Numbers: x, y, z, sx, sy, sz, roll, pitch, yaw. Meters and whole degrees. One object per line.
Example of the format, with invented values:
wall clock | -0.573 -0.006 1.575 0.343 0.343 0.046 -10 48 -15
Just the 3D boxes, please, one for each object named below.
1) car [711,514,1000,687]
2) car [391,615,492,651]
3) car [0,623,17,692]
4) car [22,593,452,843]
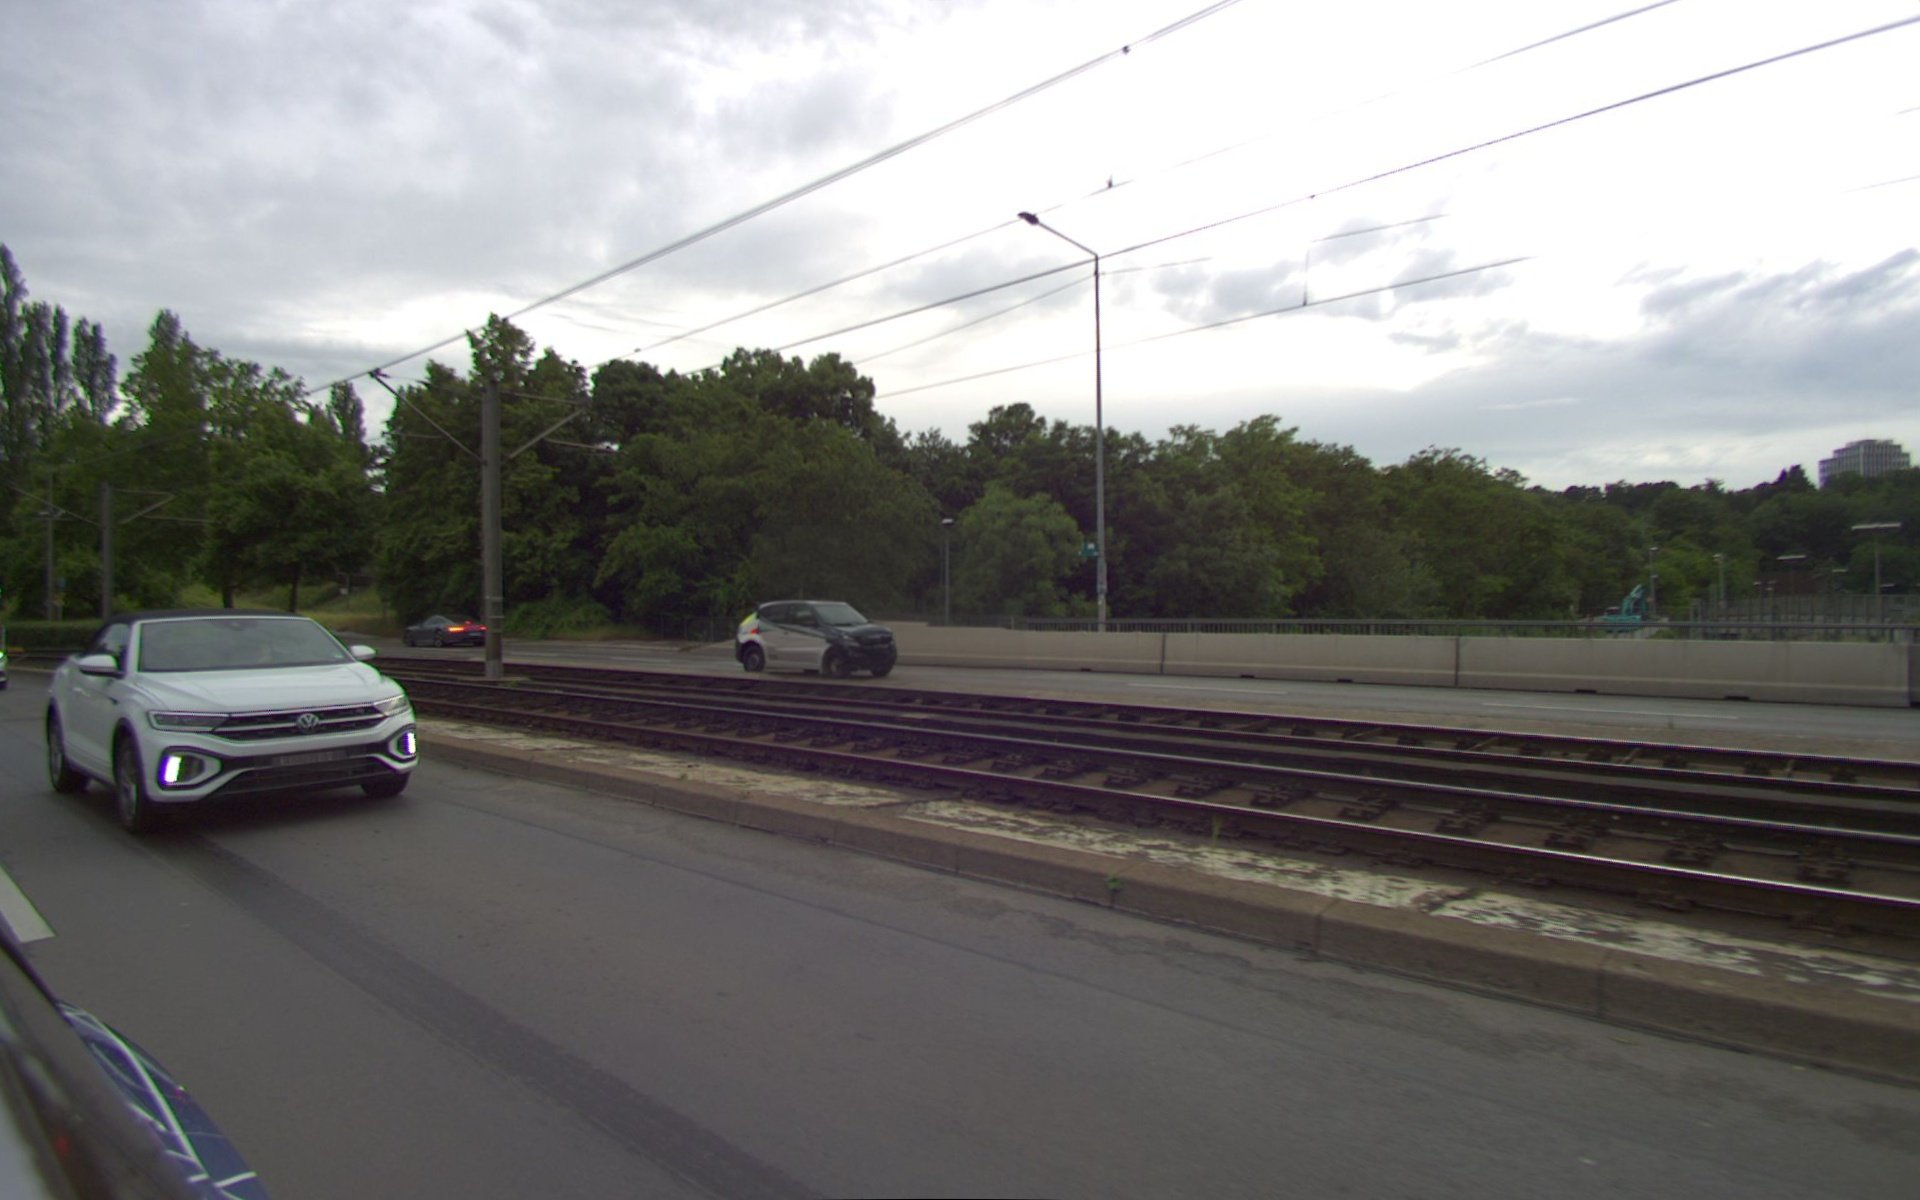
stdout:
car | -2.378 0.014 21.395 6.353 3.139 2.365 -1 0 41
car | -21.104 1.345 41.116 4.611 1.324 1.820 -2 1 37
car | -21.035 1.166 20.623 4.050 1.366 1.851 -1 -1 35
car | -6.165 0.747 8.401 4.537 1.535 1.852 -1 0 40
